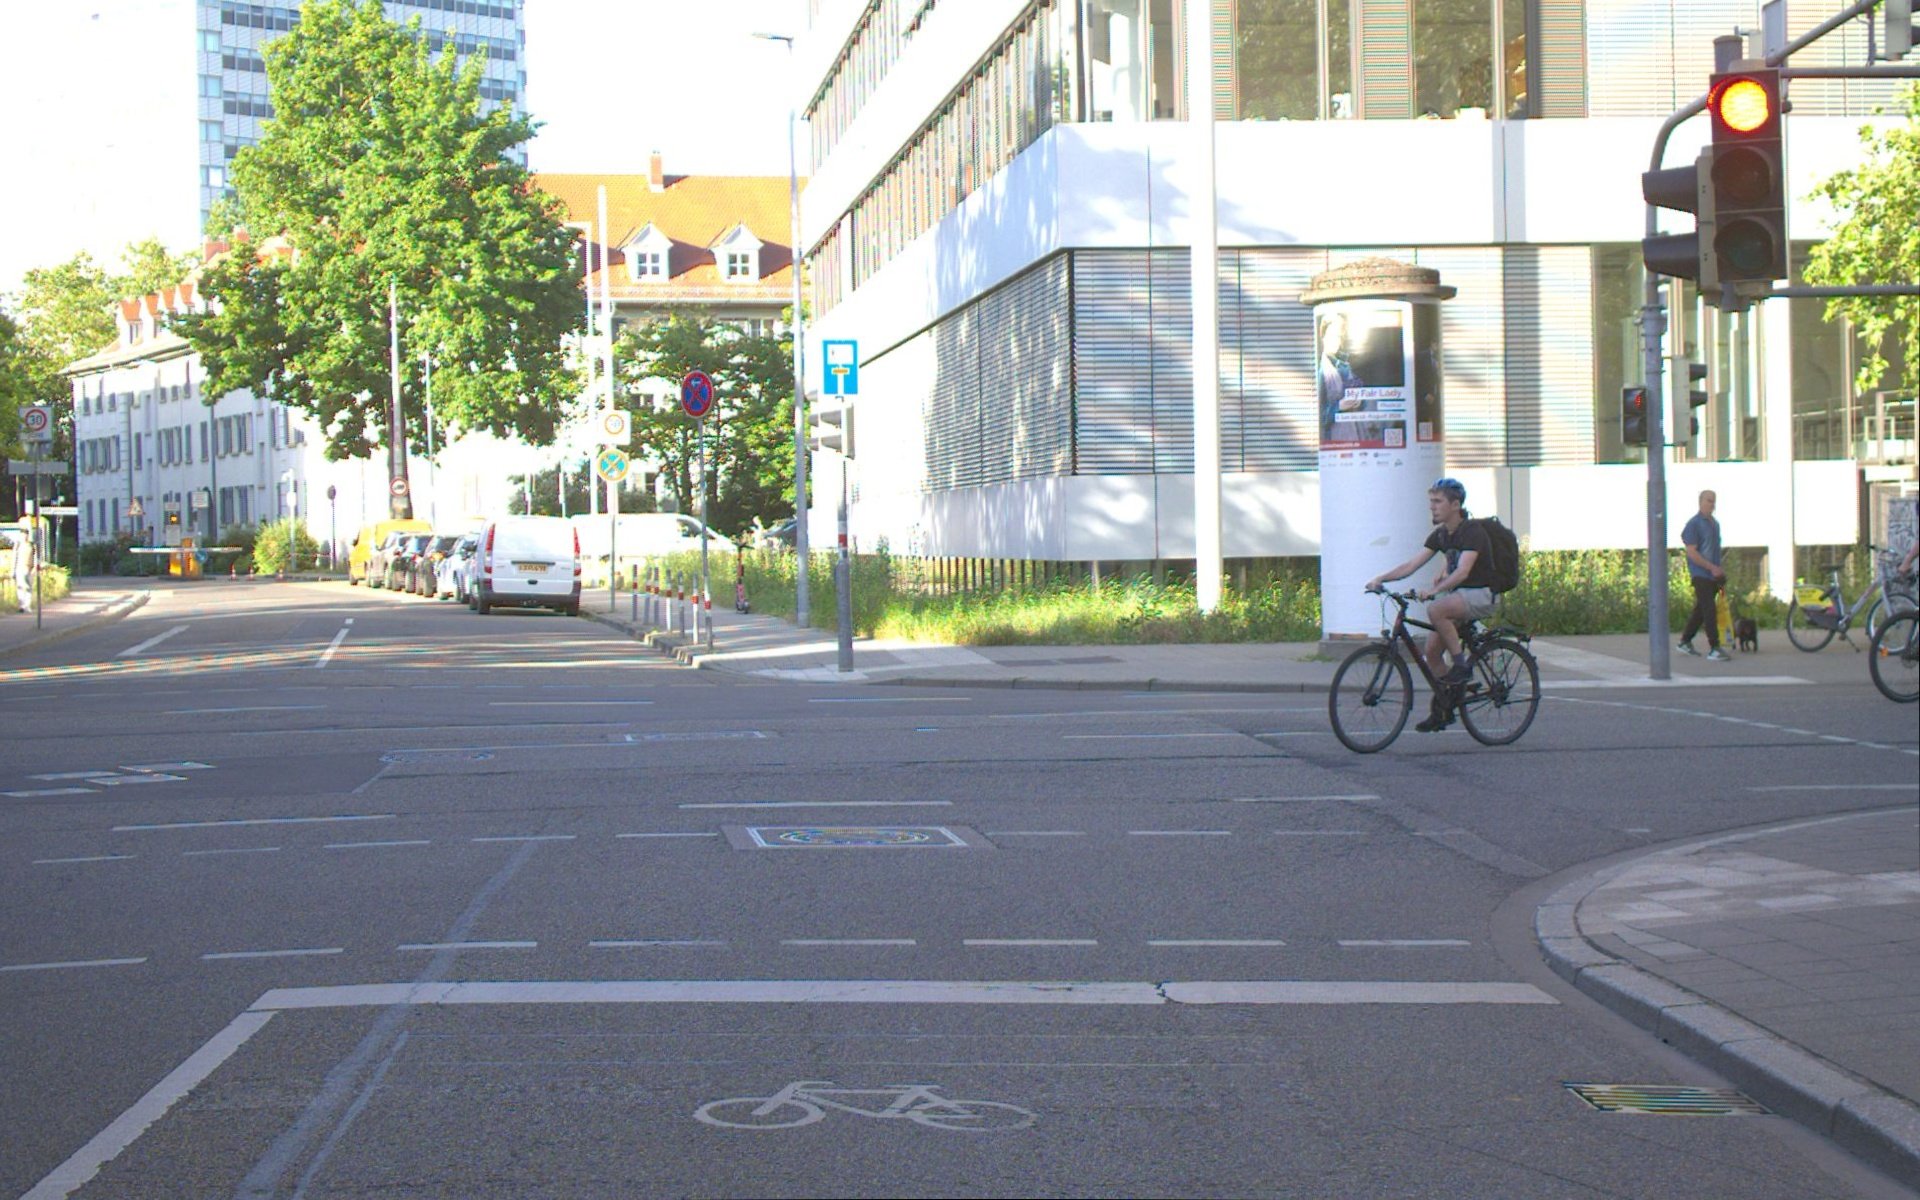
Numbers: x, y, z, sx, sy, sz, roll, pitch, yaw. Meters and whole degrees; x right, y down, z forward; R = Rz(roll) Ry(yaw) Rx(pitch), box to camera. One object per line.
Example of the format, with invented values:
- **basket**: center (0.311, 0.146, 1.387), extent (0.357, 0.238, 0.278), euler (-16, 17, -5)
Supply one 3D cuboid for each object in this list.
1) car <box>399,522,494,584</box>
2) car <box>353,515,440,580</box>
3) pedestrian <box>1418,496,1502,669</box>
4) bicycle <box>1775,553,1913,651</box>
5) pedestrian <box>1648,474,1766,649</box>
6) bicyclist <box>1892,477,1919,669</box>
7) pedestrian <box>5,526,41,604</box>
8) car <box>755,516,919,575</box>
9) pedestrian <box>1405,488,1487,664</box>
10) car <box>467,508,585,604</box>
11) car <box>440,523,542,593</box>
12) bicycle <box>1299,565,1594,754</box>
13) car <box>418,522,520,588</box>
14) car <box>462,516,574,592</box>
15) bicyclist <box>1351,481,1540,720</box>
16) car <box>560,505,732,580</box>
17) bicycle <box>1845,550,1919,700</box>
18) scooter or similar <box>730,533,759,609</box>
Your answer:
- **car**: center (-12.876, -1.169, 85.972), extent (1.993, 1.493, 4.653), euler (1, 1, -13)
- **car**: center (-15.734, -1.456, 95.828), extent (1.993, 1.719, 4.653), euler (1, 1, -14)
- **pedestrian**: center (5.032, -0.177, 34.582), extent (0.765, 1.713, 0.647), euler (1, 0, 13)
- **bicycle**: center (9.285, 0.011, 36.140), extent (0.378, 1.005, 1.432), euler (-2, 2, -42)
- **pedestrian**: center (7.831, -0.405, 36.064), extent (0.760, 1.809, 0.916), euler (0, 1, -42)
- **bicyclist**: center (8.012, -0.222, 27.318), extent (0.915, 1.517, 0.704), euler (-2, 1, -26)
- **pedestrian**: center (-19.218, -0.714, 70.499), extent (0.699, 1.581, 0.637), euler (1, 0, -16)
- **car**: center (-3.751, -1.642, 104.767), extent (4.635, 1.719, 2.001), euler (1, 1, -16)
- **pedestrian**: center (5.012, -0.249, 35.429), extent (0.765, 1.789, 0.647), euler (1, 0, 13)
- **car**: center (-8.217, -0.820, 64.815), extent (1.993, 1.719, 4.653), euler (1, 1, -10)
- **car**: center (-10.501, -0.939, 76.801), extent (1.993, 1.493, 4.653), euler (1, 1, -11)
- **bicycle**: center (3.199, 0.369, 22.527), extent (1.963, 1.148, 0.592), euler (-2, 1, -31)
- **car**: center (-11.623, -1.065, 81.248), extent (1.993, 1.493, 4.288), euler (1, 1, -13)
- **car**: center (-9.168, -0.939, 71.029), extent (1.993, 1.493, 4.653), euler (1, 1, -11)
- **bicyclist**: center (3.185, -0.008, 22.528), extent (1.075, 1.522, 0.592), euler (-2, 1, -31)
- **car**: center (-9.398, -1.712, 102.924), extent (4.791, 2.151, 2.001), euler (1, 0, -17)
- **bicycle**: center (8.023, 0.171, 27.316), extent (1.963, 1.148, 0.628), euler (-2, 1, -26)
- **scooter or similar**: center (-3.657, -0.496, 58.284), extent (0.437, 1.252, 1.420), euler (-1, 1, -4)
